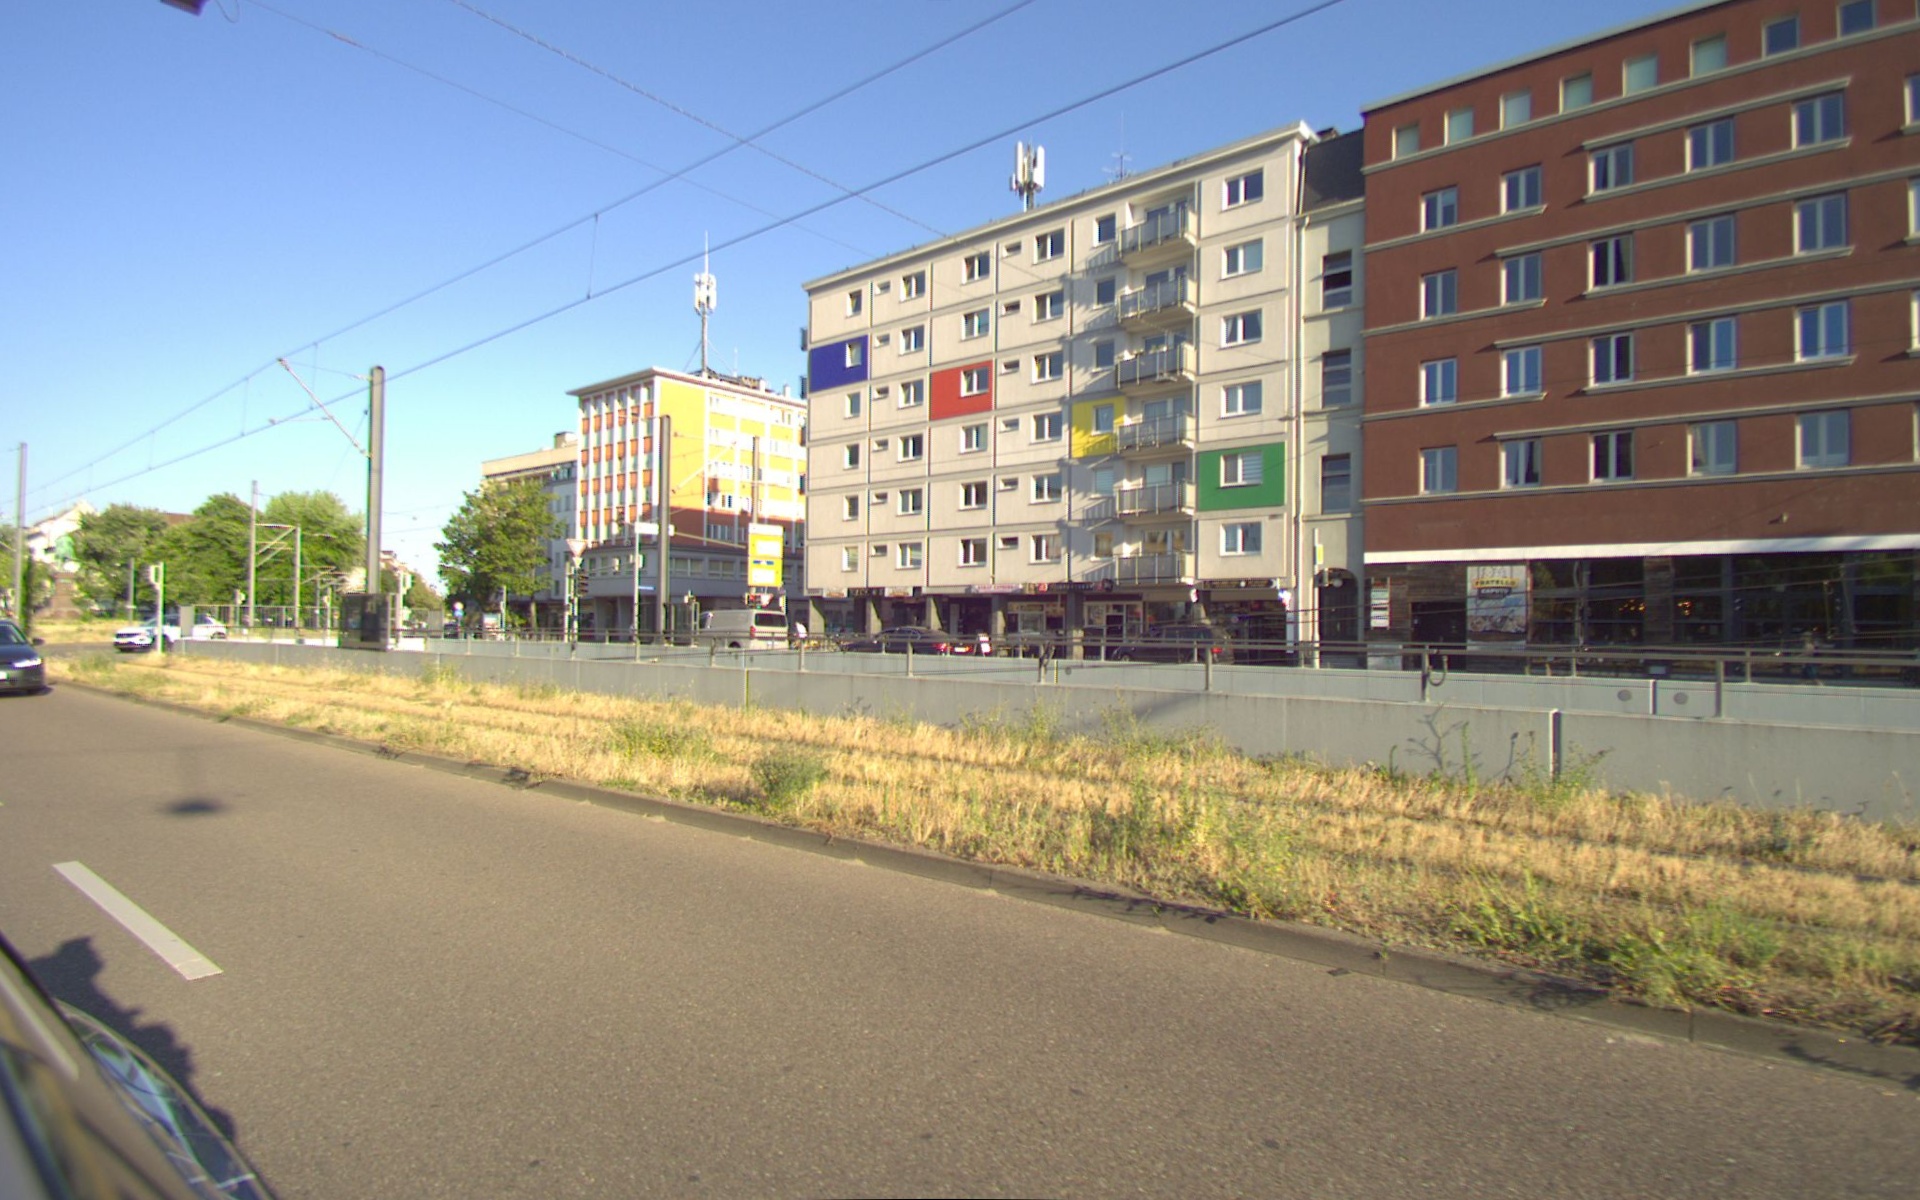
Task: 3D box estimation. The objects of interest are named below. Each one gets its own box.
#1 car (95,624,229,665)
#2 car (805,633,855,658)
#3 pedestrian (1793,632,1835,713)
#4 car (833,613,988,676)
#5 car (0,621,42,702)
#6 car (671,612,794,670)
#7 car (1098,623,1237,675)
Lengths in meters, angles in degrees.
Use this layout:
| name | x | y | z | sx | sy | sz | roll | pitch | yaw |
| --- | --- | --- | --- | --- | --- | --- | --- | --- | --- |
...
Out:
| name | x | y | z | sx | sy | sz | roll | pitch | yaw |
| --- | --- | --- | --- | --- | --- | --- | --- | --- | --- |
| car | -32.770 | 1.783 | 41.728 | 1.814 | 1.549 | 4.267 | 0 | -1 | 8 |
| car | -10.575 | 3.675 | 82.420 | 1.741 | 1.794 | 3.946 | 0 | 0 | 40 |
| pedestrian | 21.918 | 1.849 | 25.982 | 0.772 | 2.029 | 0.690 | -2 | -3 | 41 |
| car | -1.614 | 1.347 | 31.651 | 4.893 | 1.811 | 1.972 | -1 | -2 | 42 |
| car | -18.776 | 1.118 | 19.101 | 4.244 | 1.437 | 1.746 | -1 | -2 | 43 |
| car | -8.491 | 1.483 | 37.572 | 4.770 | 2.029 | 1.974 | -1 | -2 | 40 |
| car | 7.691 | 1.772 | 37.763 | 4.740 | 1.811 | 1.972 | -1 | -2 | 42 |
